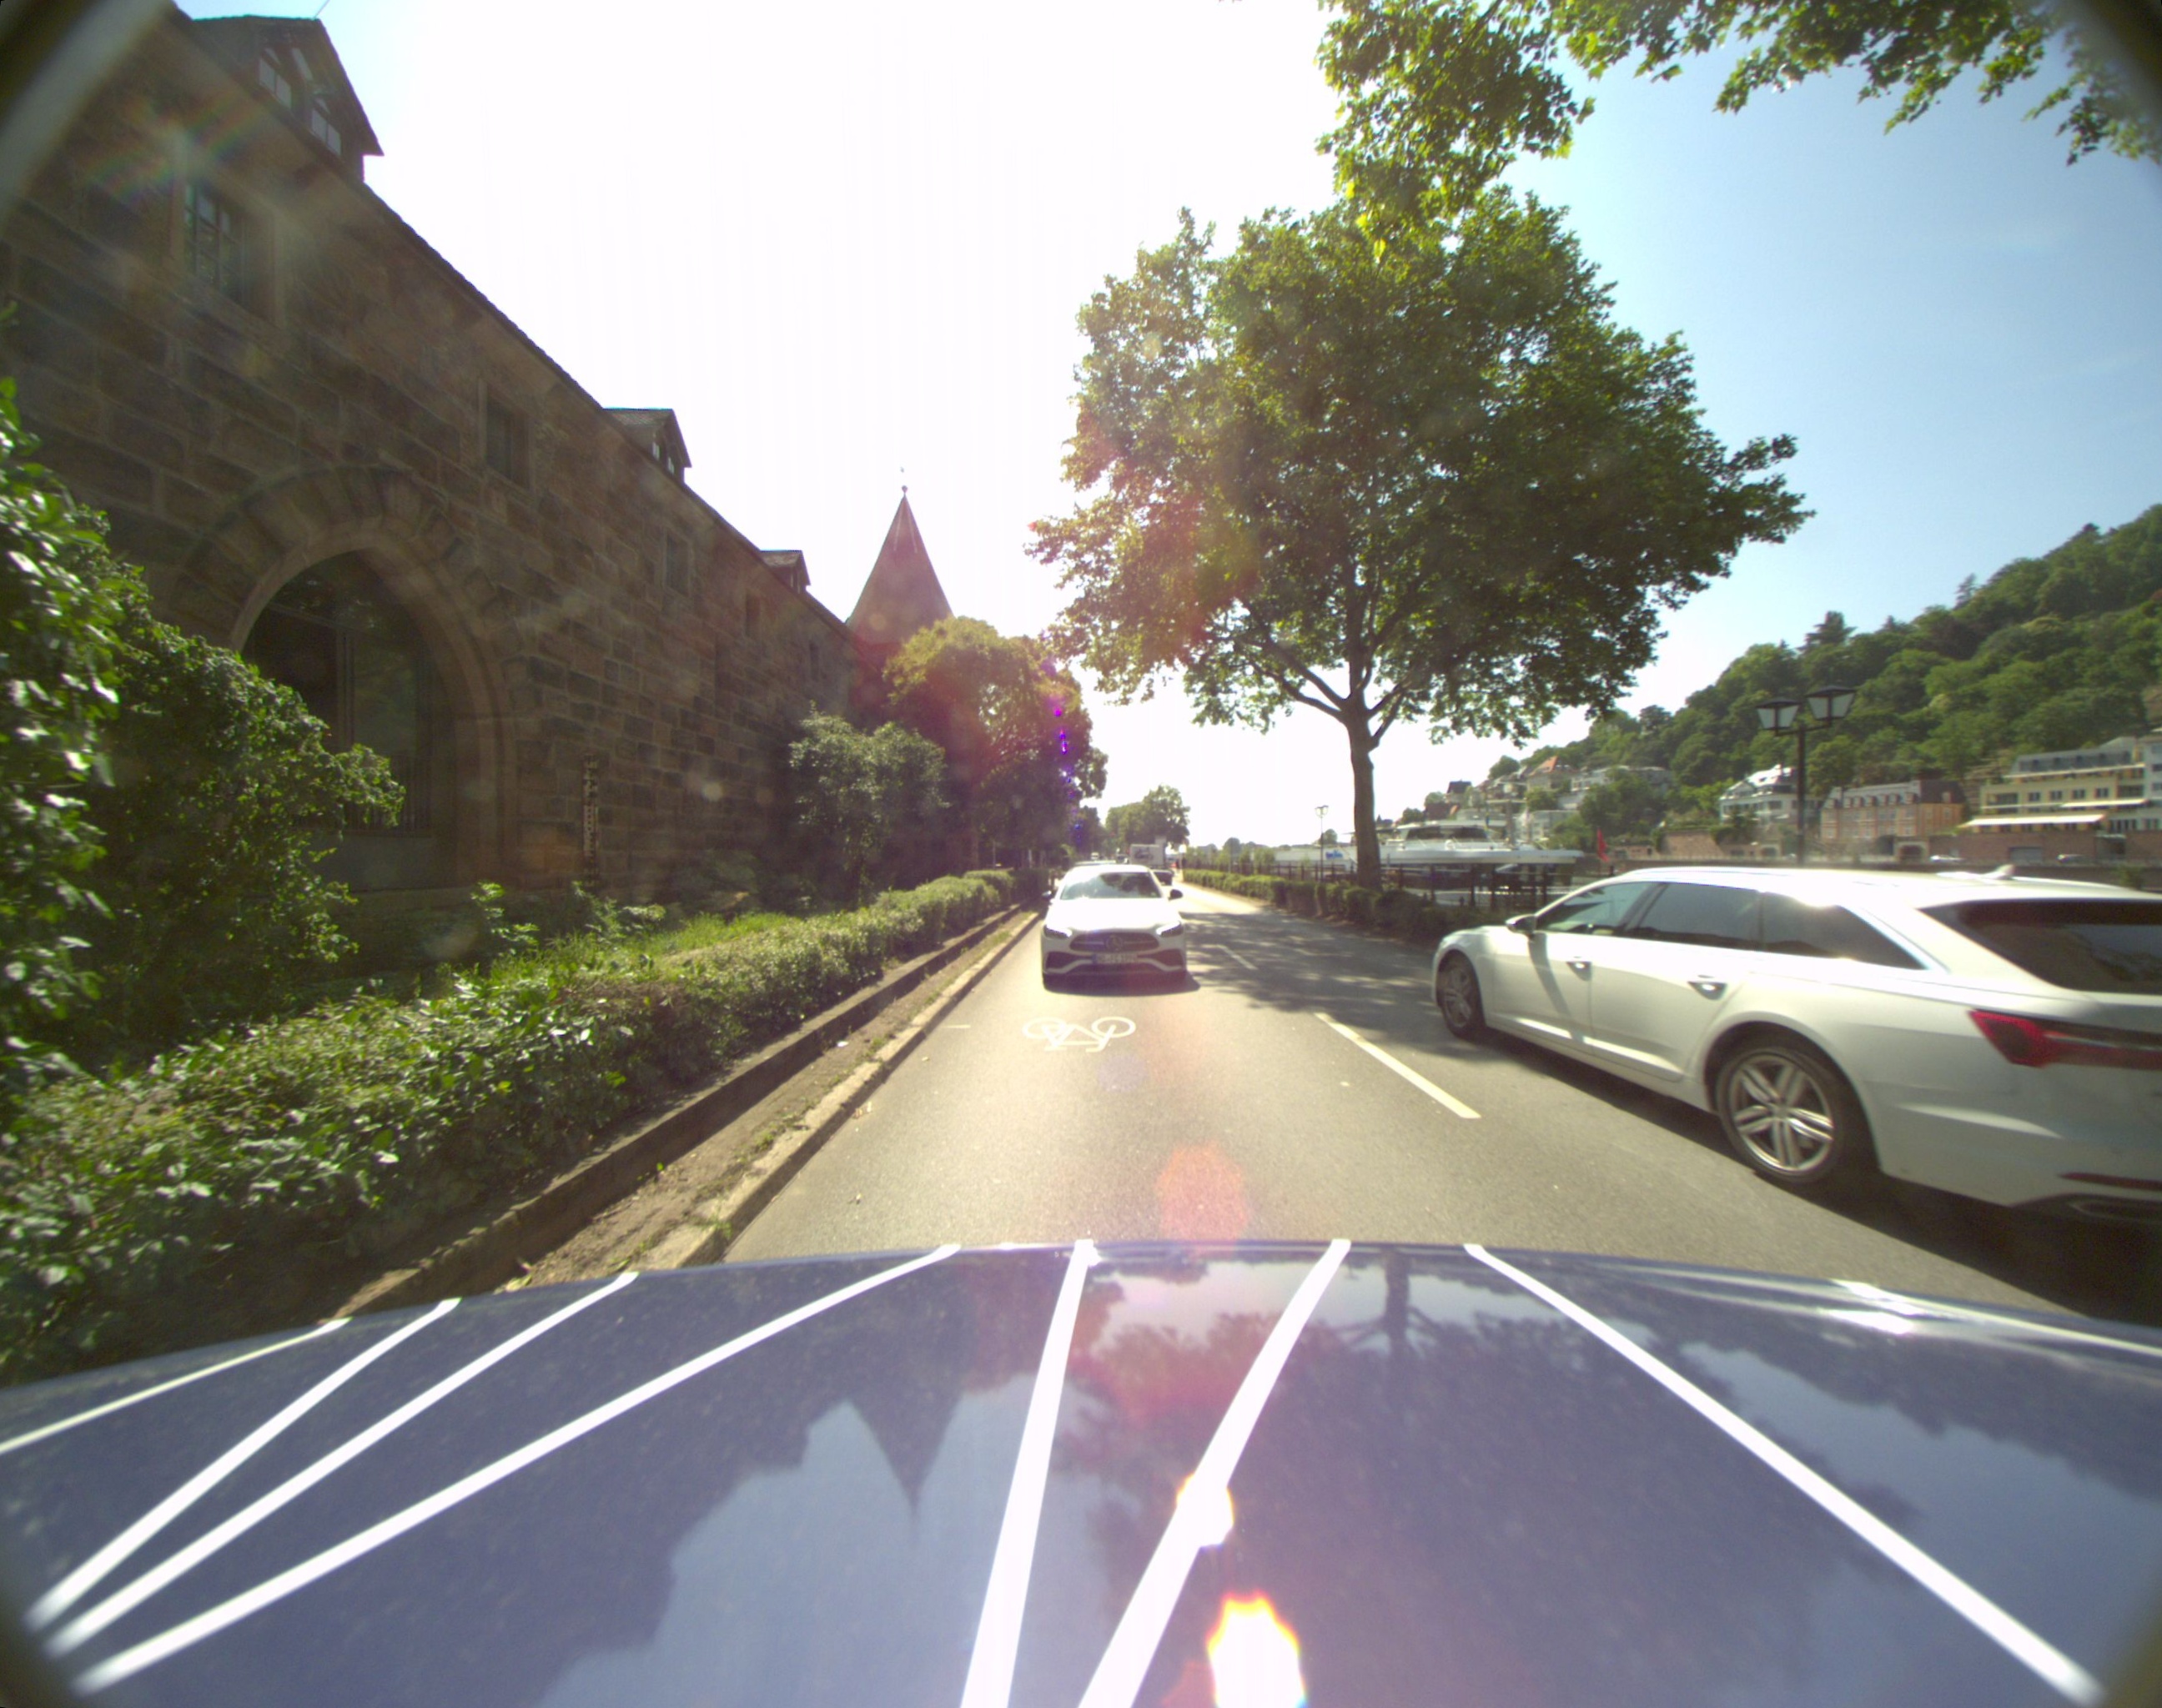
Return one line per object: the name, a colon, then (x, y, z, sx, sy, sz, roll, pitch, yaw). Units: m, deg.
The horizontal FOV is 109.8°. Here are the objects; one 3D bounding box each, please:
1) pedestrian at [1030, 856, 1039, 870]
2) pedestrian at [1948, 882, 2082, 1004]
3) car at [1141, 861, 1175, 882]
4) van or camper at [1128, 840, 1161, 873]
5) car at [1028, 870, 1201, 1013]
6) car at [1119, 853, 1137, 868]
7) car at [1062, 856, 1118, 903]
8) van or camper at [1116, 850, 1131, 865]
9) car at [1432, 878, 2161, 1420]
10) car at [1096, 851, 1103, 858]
pedestrian: (-3.867, 0.760, 63.832, 0.632, 1.186, 0.747, -2, 1, 3)
pedestrian: (10.615, 0.990, 8.658, 0.704, 1.300, 0.656, -2, 1, 2)
car: (4.668, 1.051, 46.399, 1.702, 1.204, 3.485, 1, 0, 0)
van or camper: (5.407, 0.213, 65.189, 2.328, 2.647, 6.264, 2, 0, 1)
car: (0.397, 0.987, 10.337, 1.829, 1.418, 4.359, -1, 0, 1)
car: (5.405, 0.737, 87.970, 1.826, 1.603, 3.960, 1, 0, 1)
car: (0.345, 0.865, 27.516, 1.854, 1.543, 3.849, -1, 0, 2)
van or camper: (5.879, 0.461, 106.477, 1.922, 1.975, 4.000, 1, 0, 1)
car: (3.991, 0.937, 4.435, 1.774, 1.448, 4.534, 2, -1, 0)
car: (5.108, 0.166, 214.024, 1.922, 1.975, 4.000, 1, 0, 1)
